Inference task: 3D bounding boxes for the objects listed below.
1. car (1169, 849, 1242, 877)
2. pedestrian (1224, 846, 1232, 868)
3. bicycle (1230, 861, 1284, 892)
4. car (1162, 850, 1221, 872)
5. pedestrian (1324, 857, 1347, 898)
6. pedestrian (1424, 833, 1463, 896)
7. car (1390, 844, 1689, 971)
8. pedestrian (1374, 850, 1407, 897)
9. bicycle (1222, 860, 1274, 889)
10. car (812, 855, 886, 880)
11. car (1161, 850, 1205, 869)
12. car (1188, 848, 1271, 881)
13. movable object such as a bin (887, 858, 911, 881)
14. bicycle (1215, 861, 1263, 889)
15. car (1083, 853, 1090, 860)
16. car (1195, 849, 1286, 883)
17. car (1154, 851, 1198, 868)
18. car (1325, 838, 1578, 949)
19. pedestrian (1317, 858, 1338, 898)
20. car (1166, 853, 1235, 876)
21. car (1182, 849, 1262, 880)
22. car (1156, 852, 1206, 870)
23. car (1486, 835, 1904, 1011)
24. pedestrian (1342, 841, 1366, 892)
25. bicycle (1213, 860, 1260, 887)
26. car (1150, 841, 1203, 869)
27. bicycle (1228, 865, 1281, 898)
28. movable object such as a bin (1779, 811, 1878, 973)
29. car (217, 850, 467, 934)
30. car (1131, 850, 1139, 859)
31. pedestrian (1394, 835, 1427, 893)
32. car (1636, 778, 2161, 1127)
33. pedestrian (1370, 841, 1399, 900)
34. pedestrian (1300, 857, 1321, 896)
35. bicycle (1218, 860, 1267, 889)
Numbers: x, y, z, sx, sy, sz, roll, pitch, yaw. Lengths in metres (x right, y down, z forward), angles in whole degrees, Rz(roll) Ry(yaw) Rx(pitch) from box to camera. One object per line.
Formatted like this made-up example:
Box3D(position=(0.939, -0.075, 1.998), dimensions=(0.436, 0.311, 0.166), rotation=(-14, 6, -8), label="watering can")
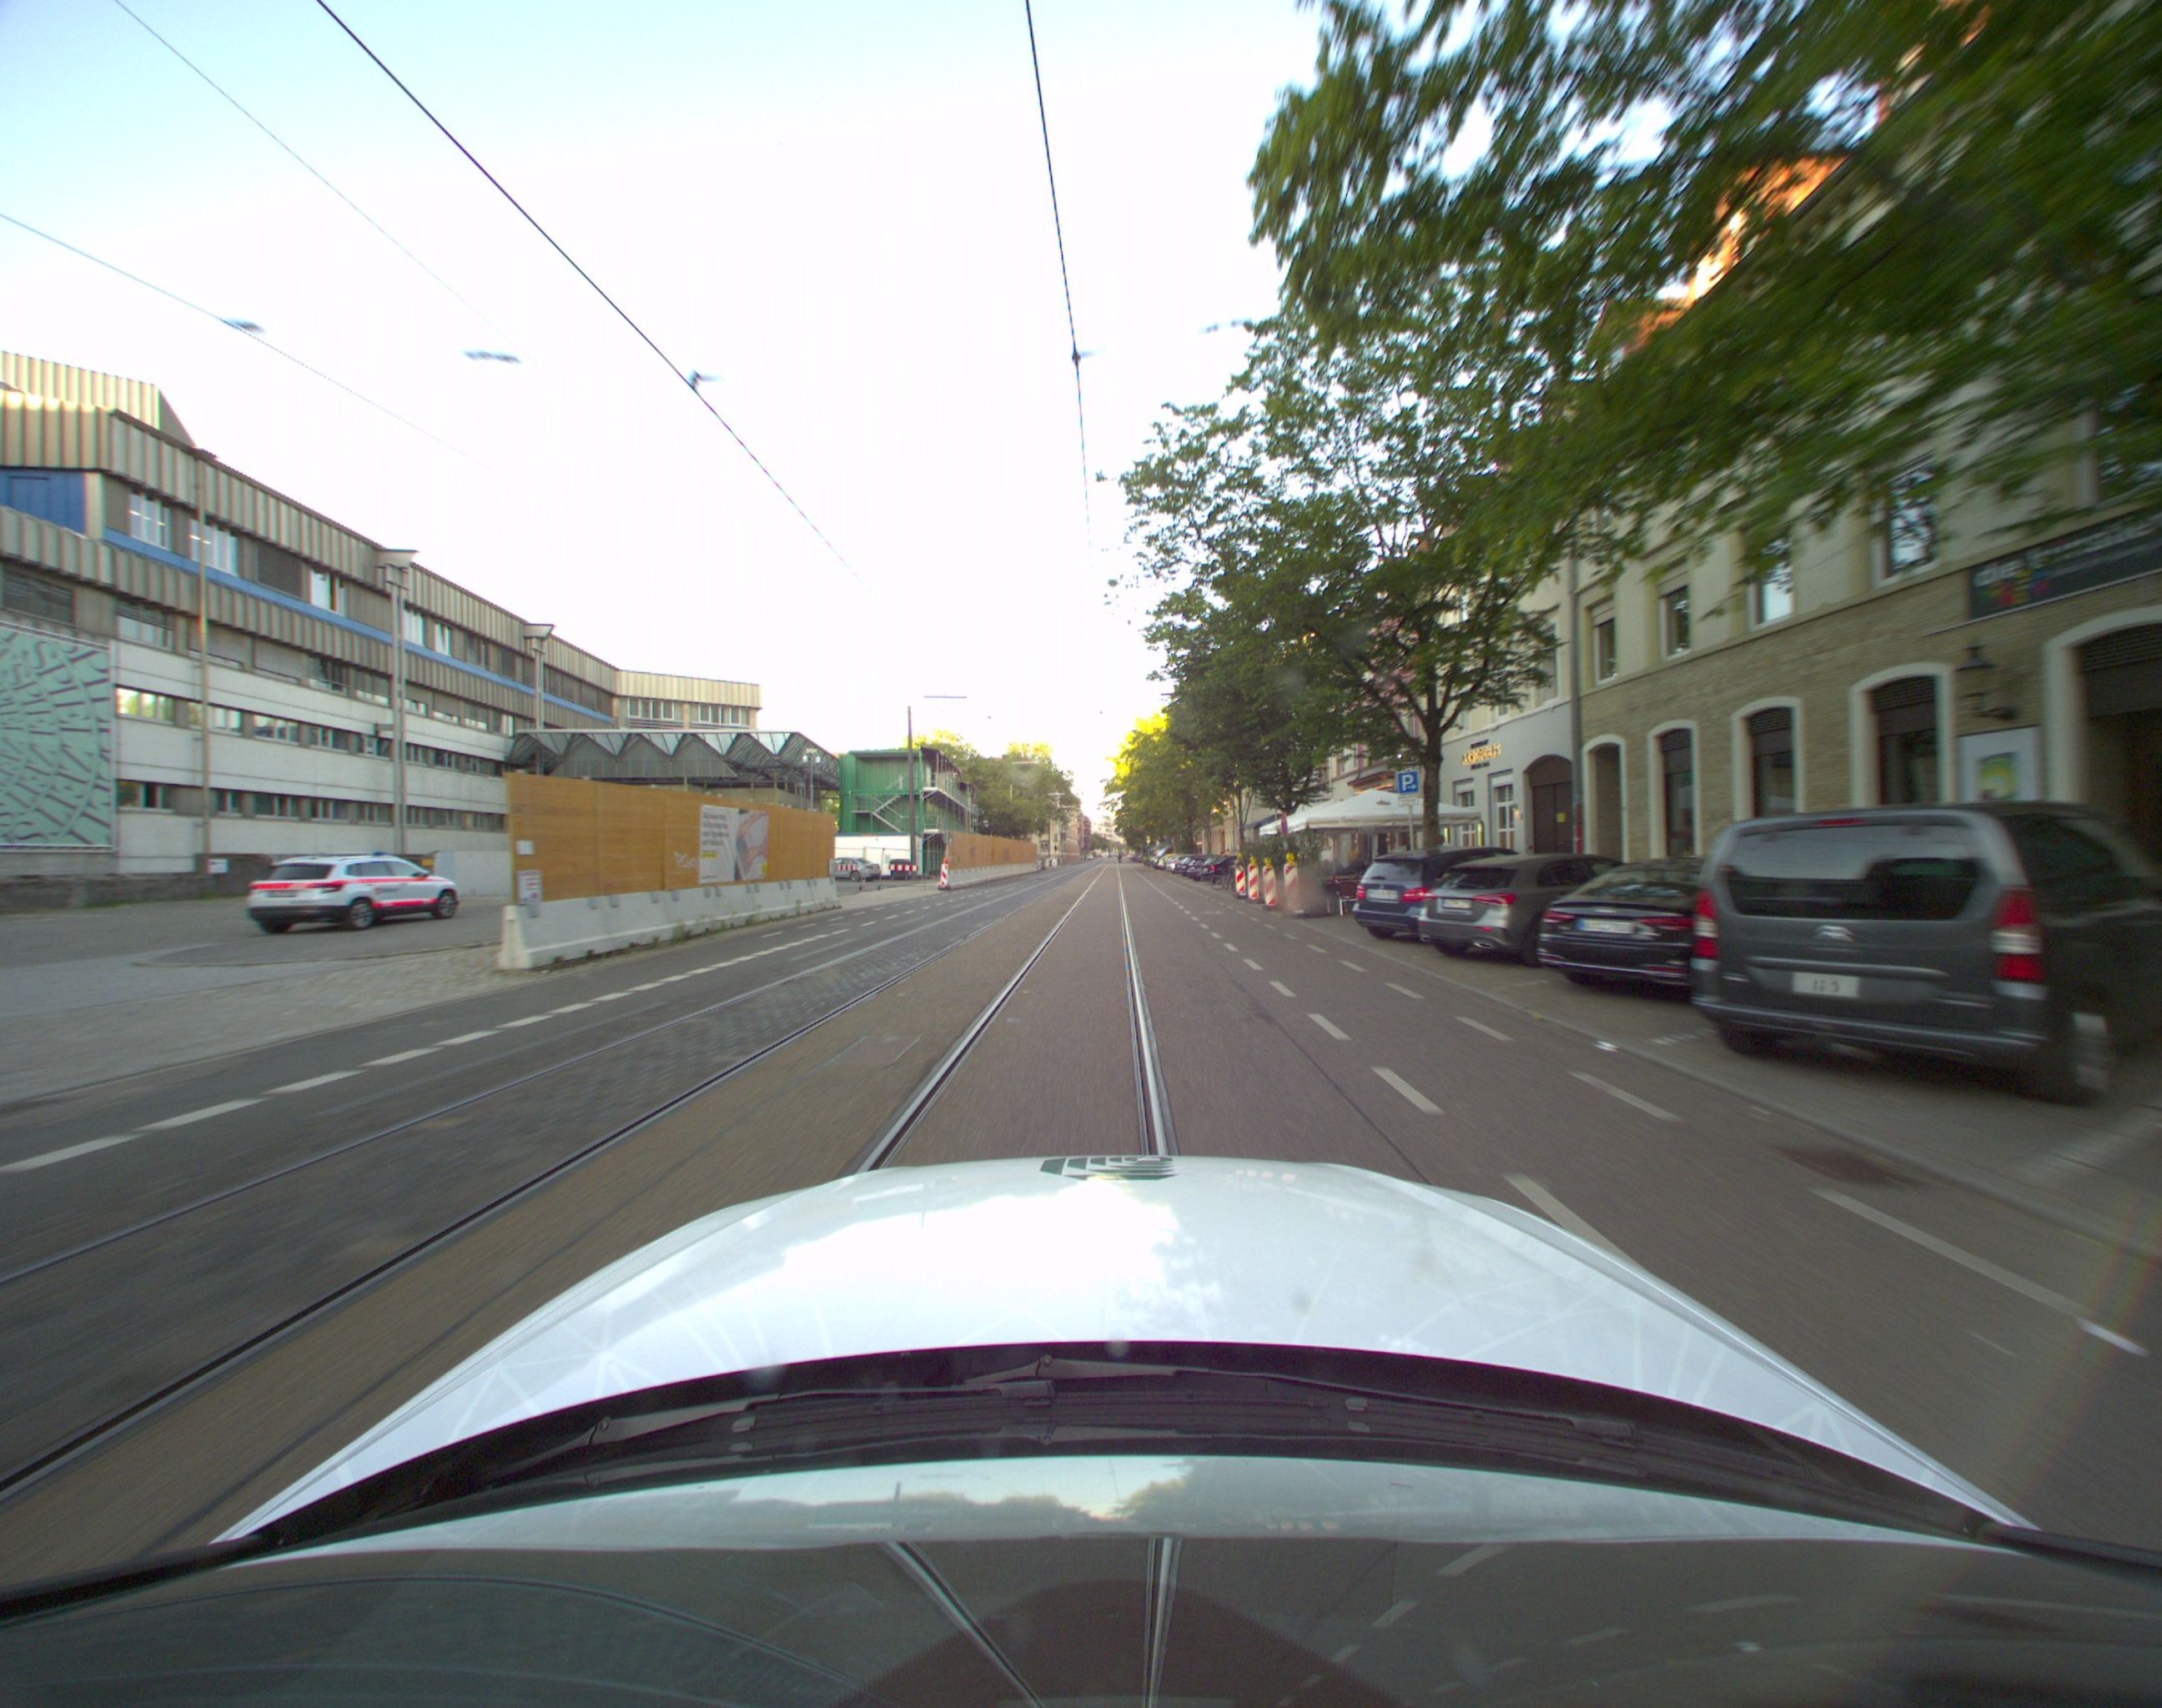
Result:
Box3D(position=(7.998, 0.585, 52.191), dimensions=(4.133, 1.470, 2.000), rotation=(-4, 0, -22), label="car")
Box3D(position=(12.211, 0.286, 67.706), dimensions=(0.563, 1.814, 0.608), rotation=(-1, 0, 5), label="pedestrian")
Box3D(position=(6.746, 0.847, 31.234), dimensions=(1.880, 1.031, 0.608), rotation=(-4, 0, 0), label="bicycle")
Box3D(position=(8.783, 0.550, 64.739), dimensions=(4.249, 1.549, 2.014), rotation=(-2, 0, -9), label="car")
Box3D(position=(8.073, 0.742, 25.830), dimensions=(0.595, 1.292, 0.504), rotation=(0, 0, 4), label="pedestrian")
Box3D(position=(10.201, 0.289, 22.931), dimensions=(0.705, 1.763, 0.709), rotation=(0, 0, -25), label="pedestrian")
Box3D(position=(6.473, 0.662, 11.509), dimensions=(3.789, 1.408, 1.693), rotation=(-3, 0, -23), label="car")
Box3D(position=(8.889, 0.549, 23.397), dimensions=(0.553, 1.306, 0.709), rotation=(0, 0, -25), label="pedestrian")
Box3D(position=(6.695, 0.810, 32.688), dimensions=(1.880, 1.031, 0.608), rotation=(-4, 0, 0), label="bicycle")
Box3D(position=(-13.982, 0.788, 49.111), dimensions=(3.964, 1.402, 1.743), rotation=(1, 0, 17), label="car")
Box3D(position=(9.777, 0.512, 78.252), dimensions=(3.934, 1.619, 1.922), rotation=(-3, -1, 2), label="car")
Box3D(position=(8.066, 0.560, 44.410), dimensions=(3.955, 1.470, 1.991), rotation=(-4, 0, -14), label="car")
Box3D(position=(-11.388, 0.964, 51.017), dimensions=(1.302, 1.369, 0.784), rotation=(-1, 0, -1), label="movable object such as a bin")
Box3D(position=(6.733, 0.886, 34.759), dimensions=(1.857, 1.031, 0.591), rotation=(-4, 0, -1), label="bicycle")
Box3D(position=(1.772, 0.886, 259.514), dimensions=(1.890, 2.178, 4.002), rotation=(0, 0, 2), label="car")
Box3D(position=(8.162, 0.598, 41.802), dimensions=(4.172, 1.426, 1.813), rotation=(-4, 0, -17), label="car")
Box3D(position=(9.576, 0.566, 81.967), dimensions=(3.966, 1.486, 1.907), rotation=(-2, -1, -22), label="car")
Box3D(position=(6.402, 0.607, 14.064), dimensions=(3.979, 1.553, 1.693), rotation=(-3, 0, -23), label="car")
Box3D(position=(8.228, 0.795, 27.162), dimensions=(0.501, 1.292, 0.599), rotation=(-1, 0, -2), label="pedestrian")
Box3D(position=(8.293, 0.704, 56.553), dimensions=(4.267, 1.392, 2.001), rotation=(-2, 0, -21), label="car")
Box3D(position=(8.138, 0.581, 47.087), dimensions=(4.124, 1.470, 1.814), rotation=(-4, 0, -15), label="car")
Box3D(position=(9.155, 0.626, 74.803), dimensions=(4.139, 1.425, 1.906), rotation=(-2, -1, -23), label="car")
Box3D(position=(6.865, 0.625, 9.092), dimensions=(4.329, 1.389, 1.792), rotation=(-4, 0, -24), label="car")
Box3D(position=(9.586, 0.427, 28.593), dimensions=(0.548, 1.763, 0.894), rotation=(0, 0, 2), label="pedestrian")
Box3D(position=(6.751, 0.855, 35.349), dimensions=(1.897, 1.031, 0.533), rotation=(-4, 0, 0), label="bicycle")
Box3D(position=(10.193, 0.124, 86.765), dimensions=(5.103, 2.642, 2.011), rotation=(-3, -1, -15), label="car")
Box3D(position=(6.022, 0.958, 28.333), dimensions=(1.673, 1.031, 0.557), rotation=(-4, 0, 0), label="bicycle")
Box3D(position=(9.654, 0.473, 10.538), dimensions=(0.611, 2.013, 0.695), rotation=(-1, 0, 1), label="movable object such as a bin")
Box3D(position=(-16.416, 0.765, 18.464), dimensions=(1.990, 1.664, 4.272), rotation=(0, 0, -5), label="car")
Box3D(position=(12.164, 0.097, 184.711), dimensions=(1.715, 2.013, 4.002), rotation=(0, 0, 2), label="car")
Box3D(position=(10.121, 0.295, 25.025), dimensions=(0.551, 1.763, 0.850), rotation=(0, 0, -10), label="pedestrian")
Box3D(position=(6.447, 0.443, 6.062), dimensions=(4.169, 1.806, 1.990), rotation=(-3, 0, -26), label="car")
Box3D(position=(9.328, 0.498, 25.050), dimensions=(0.550, 1.763, 0.713), rotation=(0, 0, -9), label="pedestrian")
Box3D(position=(7.642, 0.745, 27.112), dimensions=(0.501, 1.292, 0.599), rotation=(0, 0, -2), label="pedestrian")
Box3D(position=(6.758, 0.871, 34.104), dimensions=(1.880, 1.067, 0.674), rotation=(-4, 0, 0), label="bicycle")
